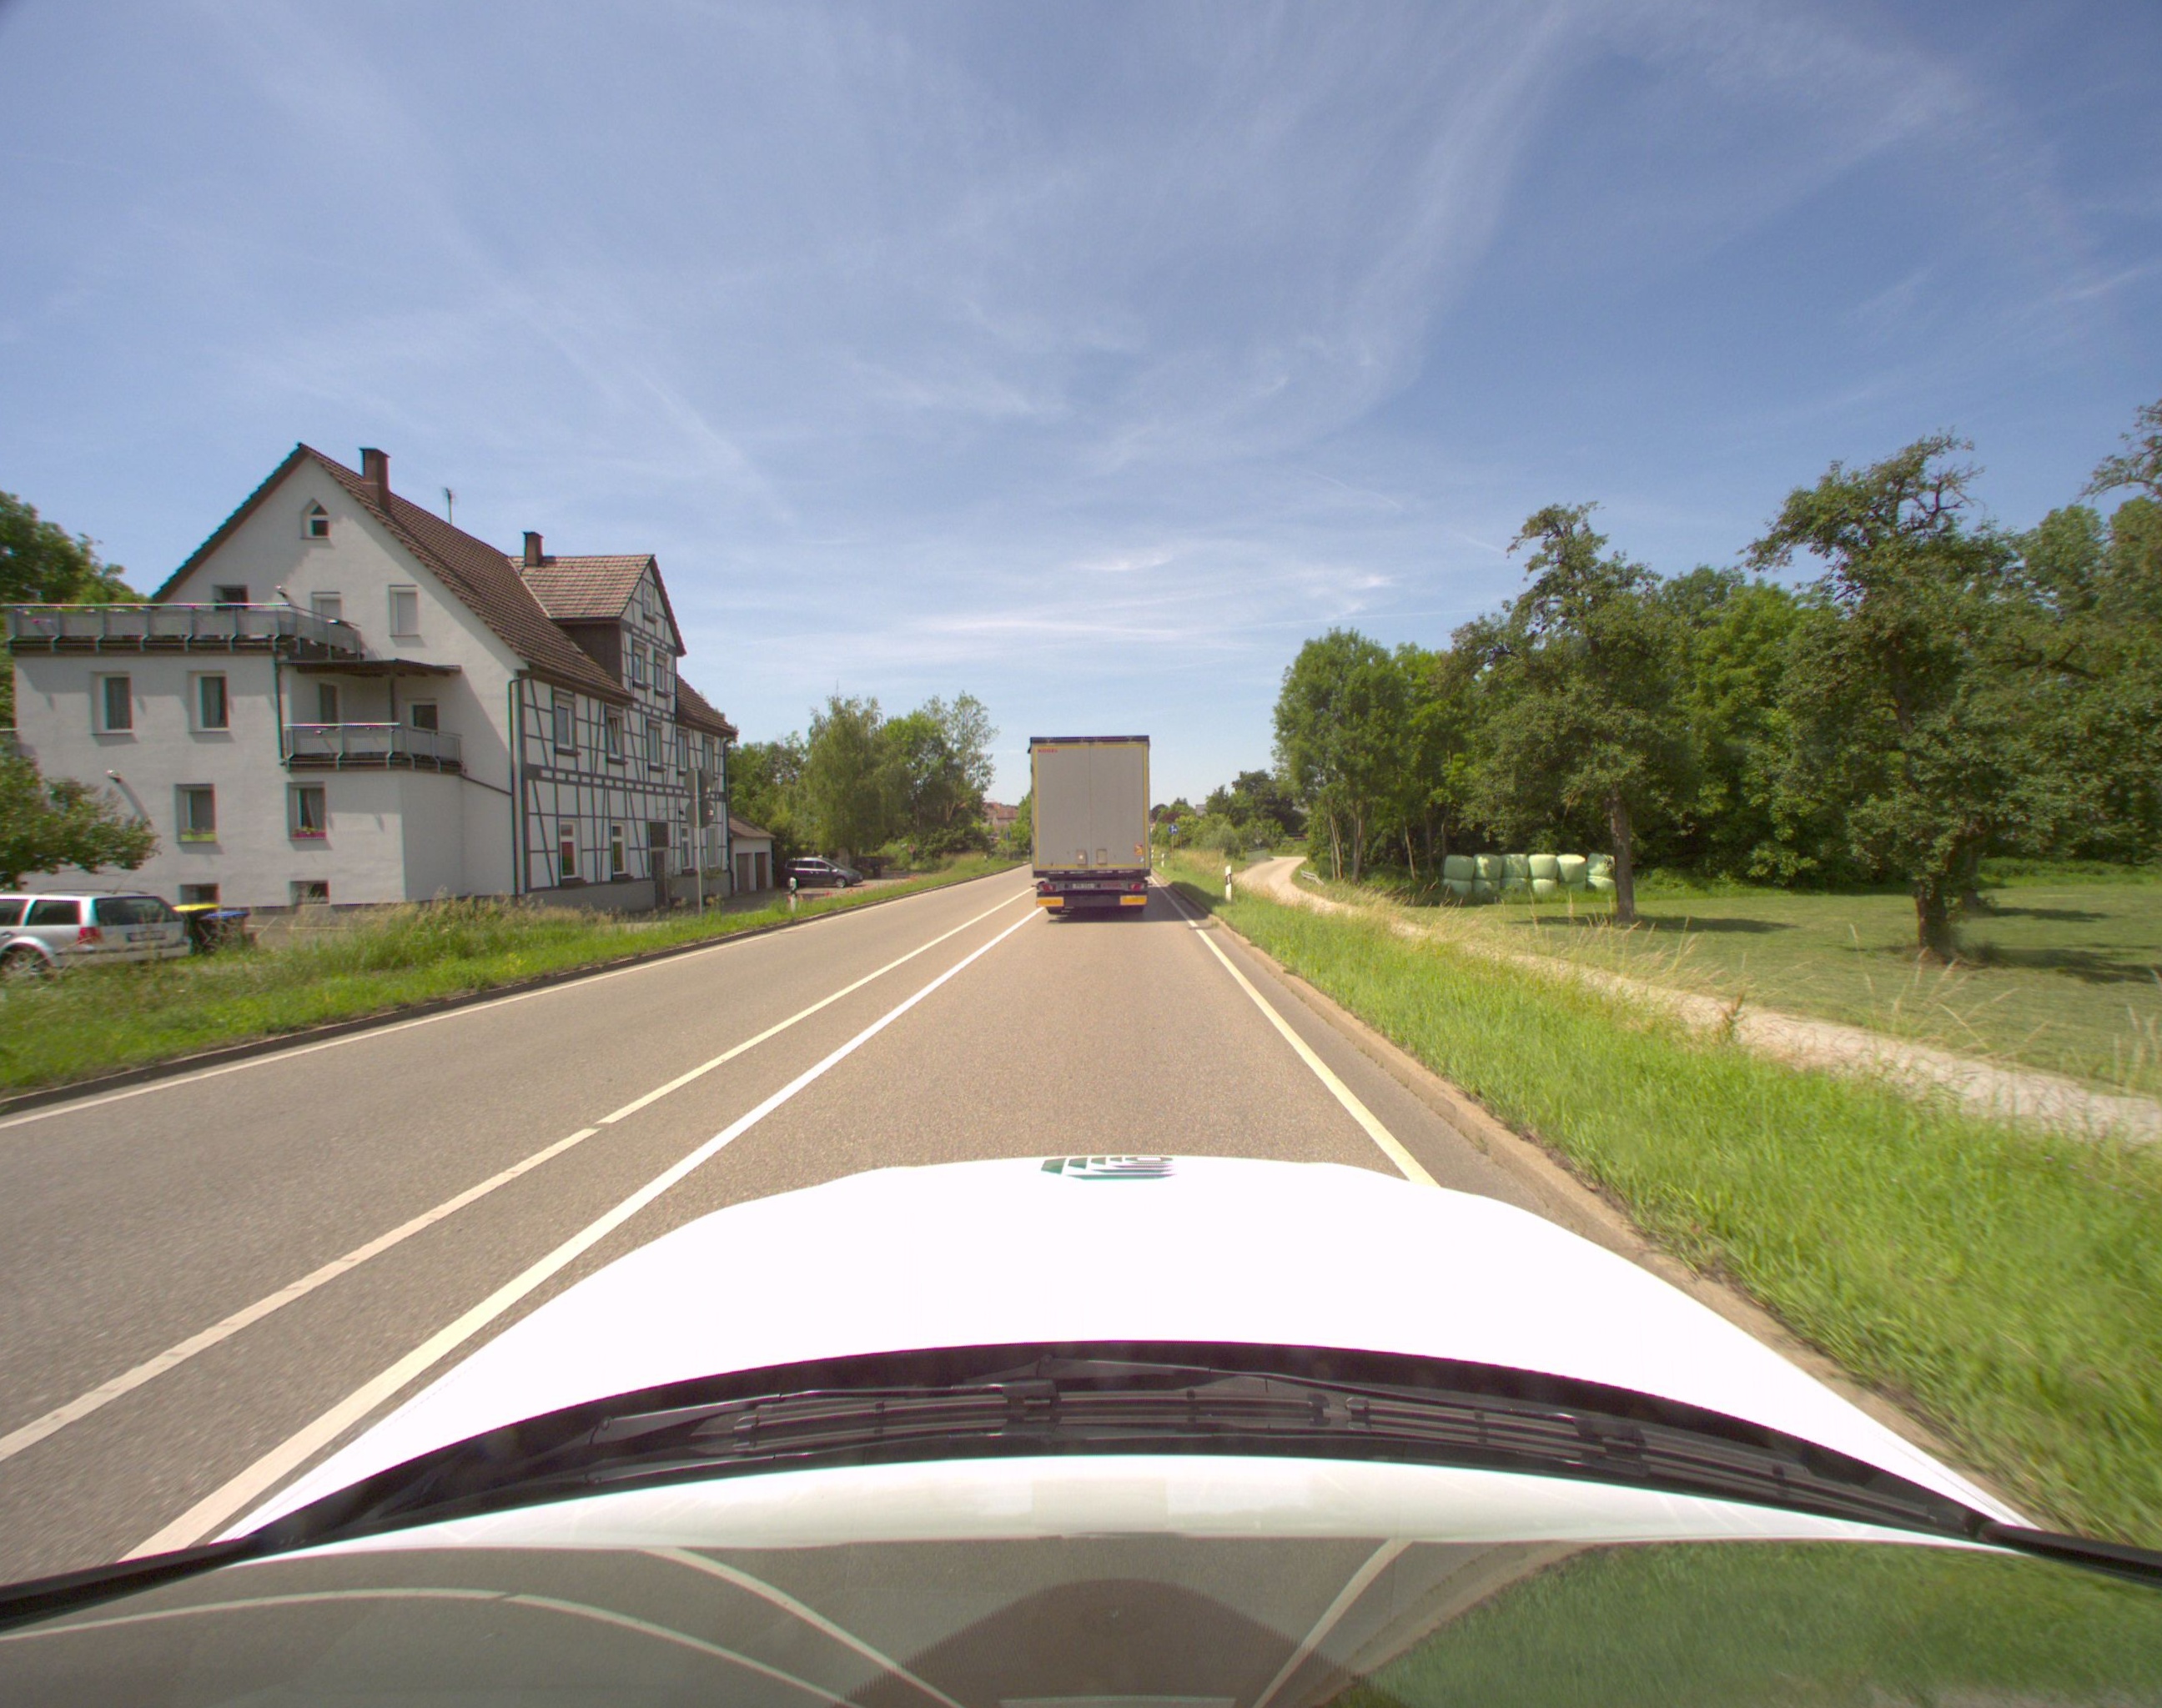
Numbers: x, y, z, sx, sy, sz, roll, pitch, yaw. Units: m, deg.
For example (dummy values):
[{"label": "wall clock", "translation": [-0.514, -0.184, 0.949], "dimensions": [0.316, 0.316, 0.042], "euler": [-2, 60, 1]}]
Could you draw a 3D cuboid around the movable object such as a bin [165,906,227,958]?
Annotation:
[{"label": "movable object such as a bin", "translation": [-17.508, 1.526, 16.129], "dimensions": [0.502, 0.970, 0.653], "euler": [0, -1, -5]}]

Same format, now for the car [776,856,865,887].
[{"label": "car", "translation": [-15.467, 1.029, 48.522], "dimensions": [4.650, 1.720, 1.861], "euler": [0, 2, -2]}]

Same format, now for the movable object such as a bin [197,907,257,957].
[{"label": "movable object such as a bin", "translation": [-16.981, 1.535, 16.211], "dimensions": [0.502, 0.936, 0.653], "euler": [0, -1, -5]}]

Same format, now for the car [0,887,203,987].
[{"label": "car", "translation": [-16.907, 1.305, 13.233], "dimensions": [3.369, 1.465, 1.608], "euler": [0, 0, -4]}]

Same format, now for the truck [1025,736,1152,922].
[{"label": "truck", "translation": [0.306, -0.544, 21.690], "dimensions": [2.637, 3.917, 8.829], "euler": [-1, 0, 2]}]

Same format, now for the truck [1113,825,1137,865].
[{"label": "truck", "translation": [5.395, -1.010, 100.690], "dimensions": [2.636, 4.601, 10.819], "euler": [0, 0, 1]}]
